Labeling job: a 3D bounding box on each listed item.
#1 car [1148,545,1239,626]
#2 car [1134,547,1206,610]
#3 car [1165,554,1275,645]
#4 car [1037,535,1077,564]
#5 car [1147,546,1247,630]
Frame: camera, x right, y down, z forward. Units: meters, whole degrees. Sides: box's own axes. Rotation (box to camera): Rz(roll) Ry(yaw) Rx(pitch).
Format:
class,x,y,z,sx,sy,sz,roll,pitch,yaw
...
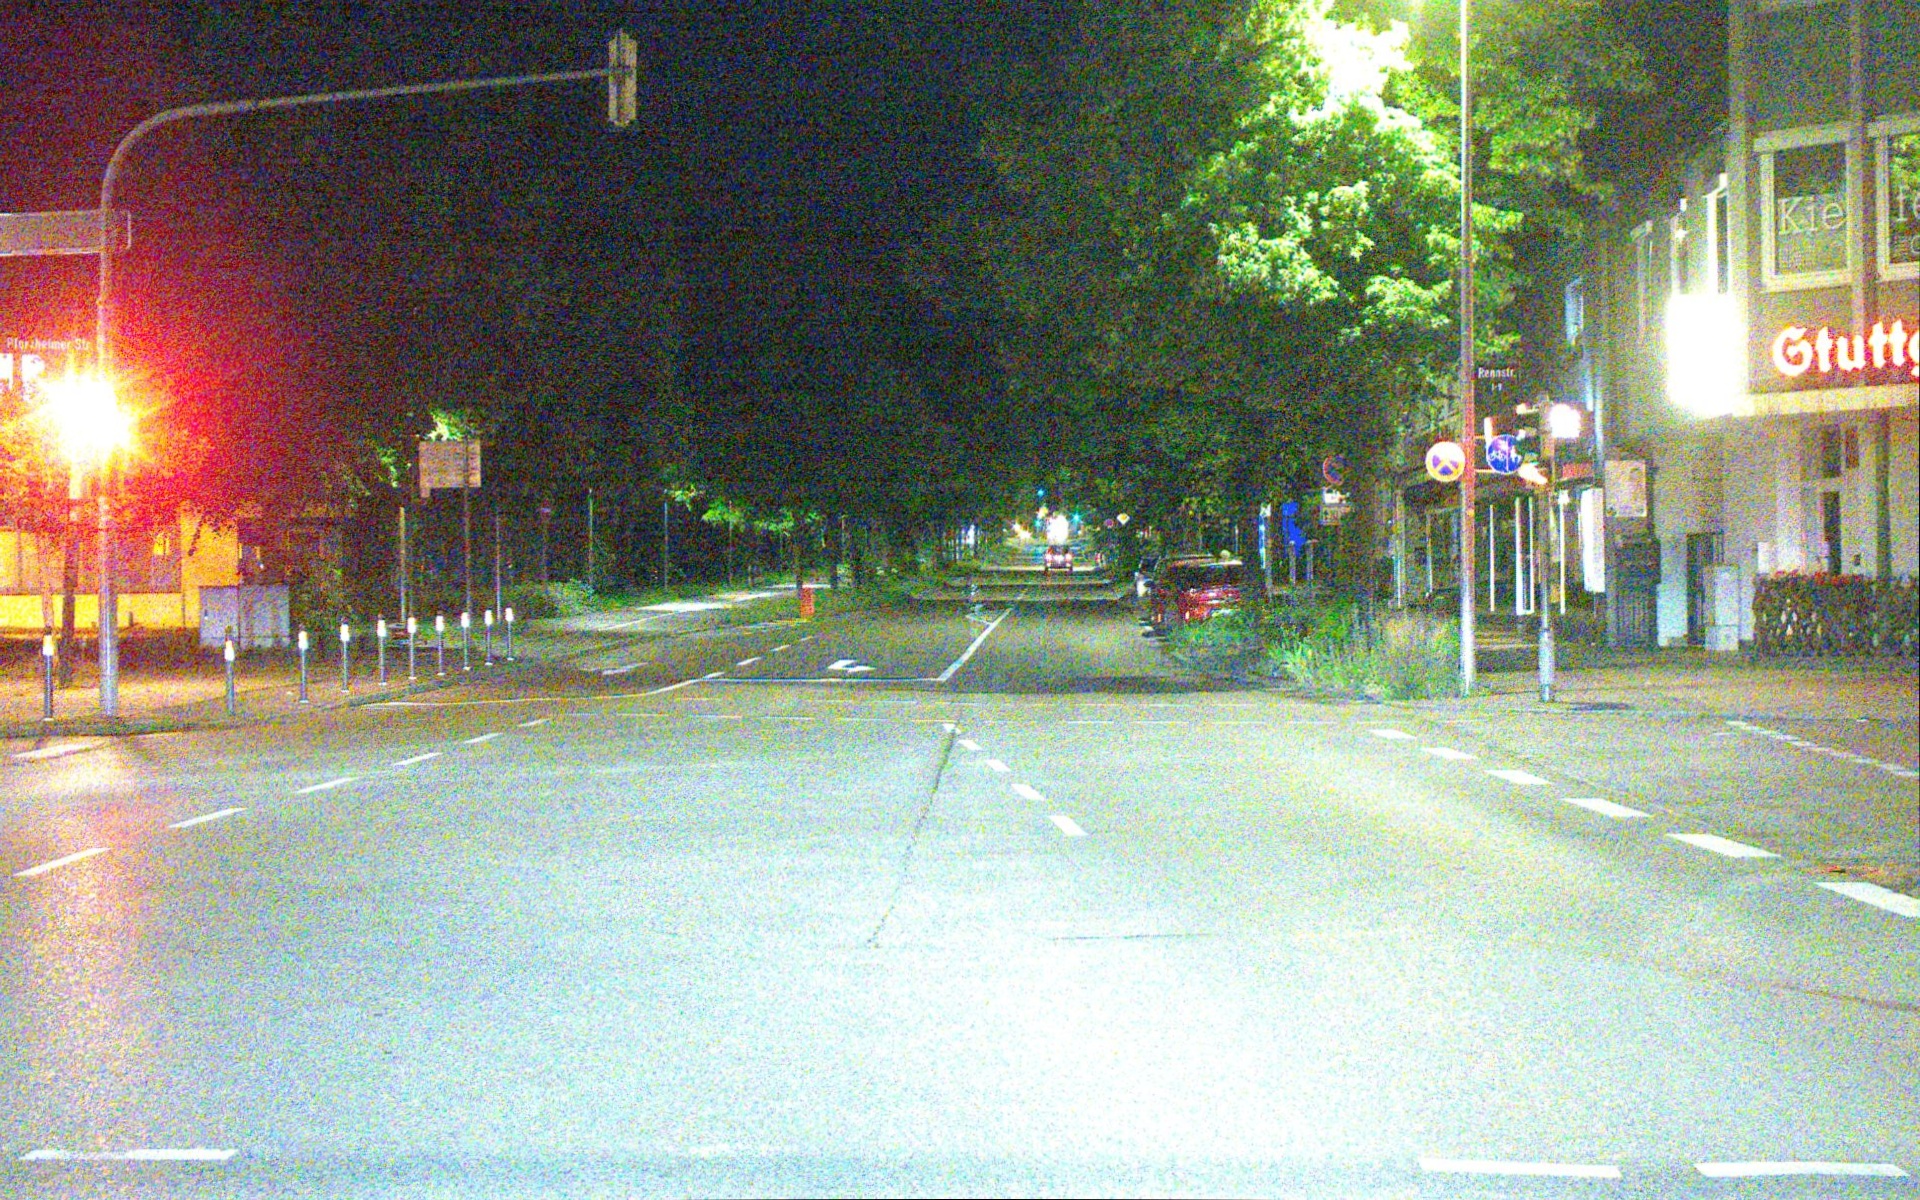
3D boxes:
class,x,y,z,sx,sy,sz,roll,pitch,yaw
car,5.166,-0.338,76.467,1.876,1.723,4.000,0,1,2
car,5.742,-0.597,94.533,1.876,1.678,4.000,0,1,2
car,4.772,-0.036,63.539,1.876,1.610,4.000,0,1,2
car,5.571,-2.881,196.663,2.227,1.645,4.000,0,1,2
car,4.706,-0.258,68.797,1.876,1.610,4.000,0,1,2
